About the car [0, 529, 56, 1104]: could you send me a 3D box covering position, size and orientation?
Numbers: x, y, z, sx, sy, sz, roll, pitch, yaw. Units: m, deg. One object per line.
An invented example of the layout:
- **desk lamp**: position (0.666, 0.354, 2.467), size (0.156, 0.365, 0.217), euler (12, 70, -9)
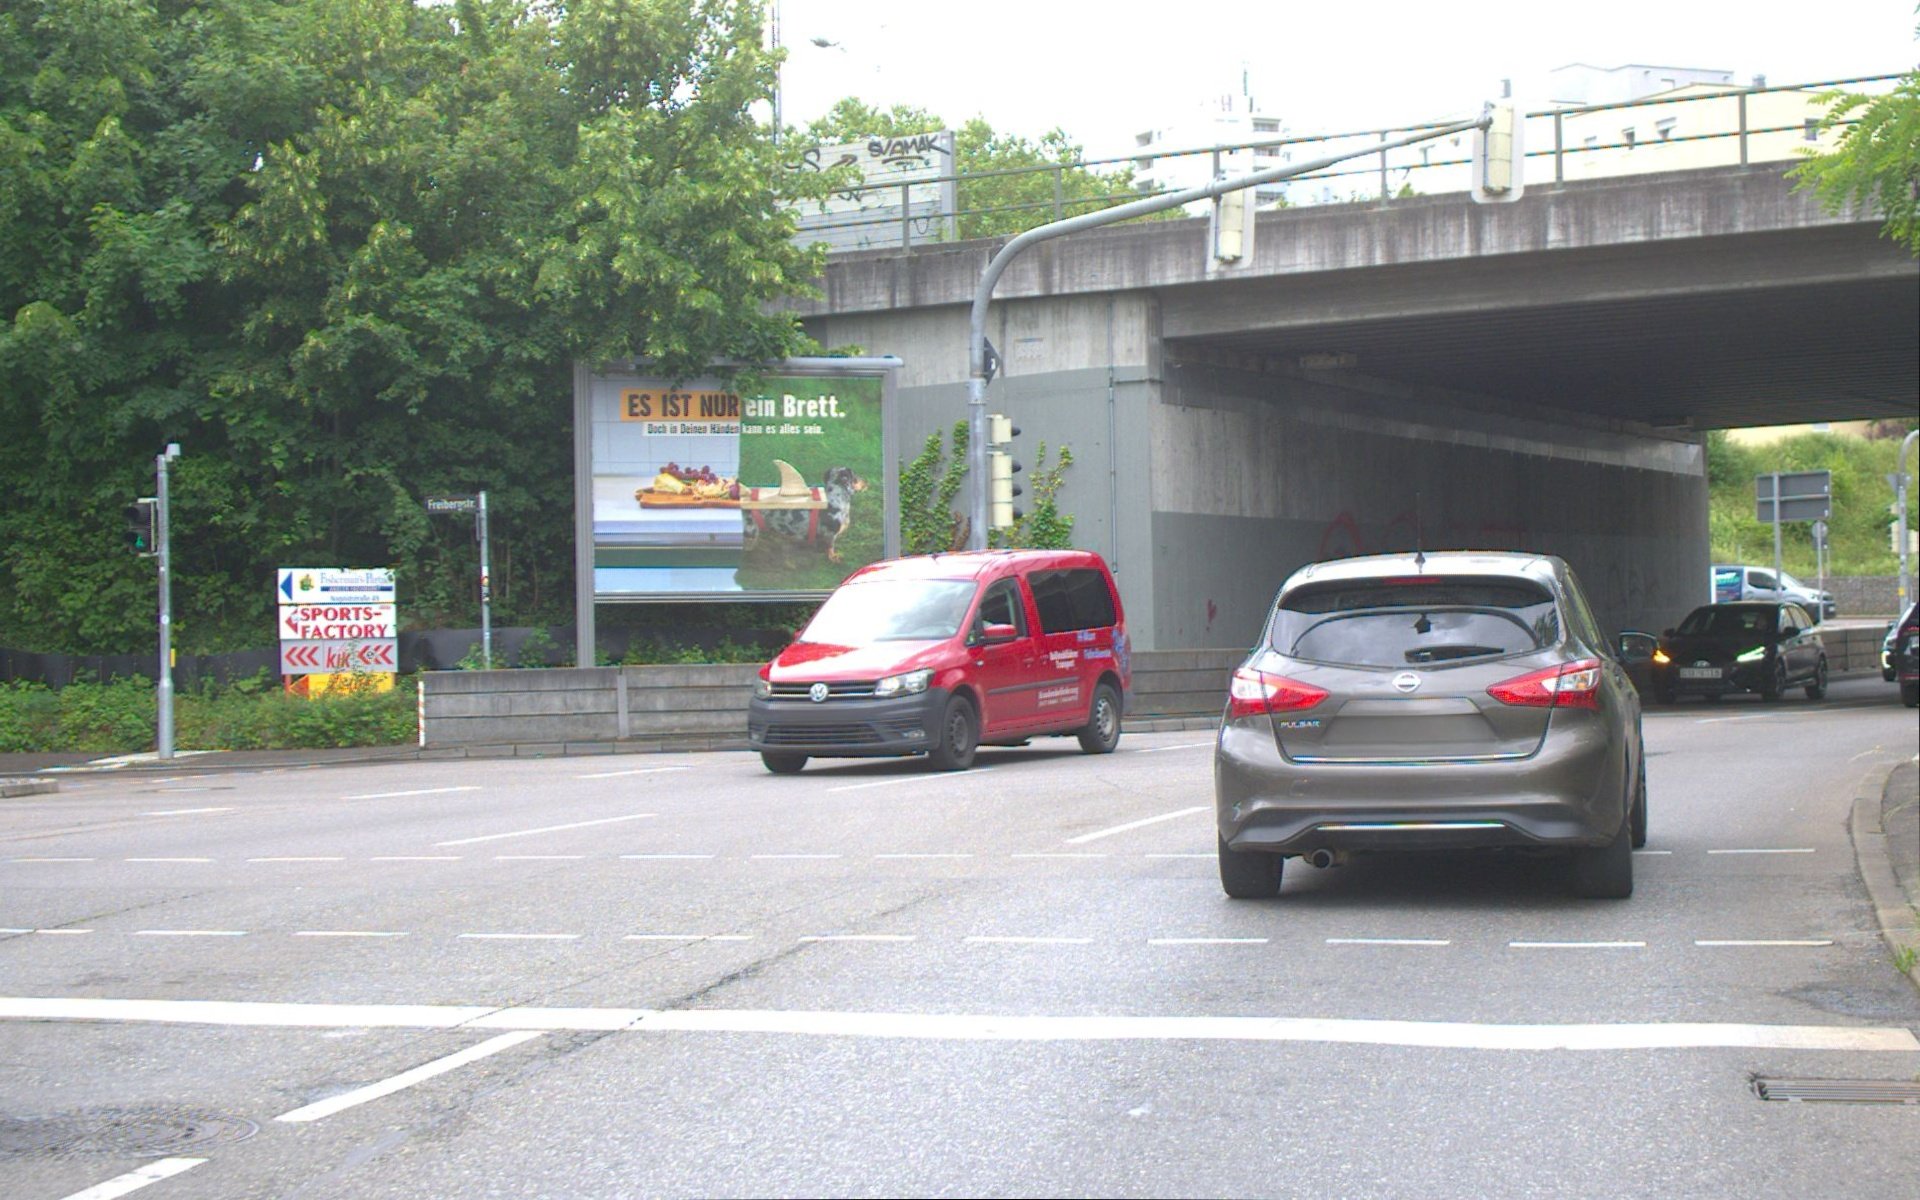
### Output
- **car**: position (-3.531, 0.576, 8.192), size (1.576, 1.552, 3.016), euler (1, 1, 8)

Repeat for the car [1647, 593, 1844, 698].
- **car**: position (11.545, 0.641, 50.337), size (1.819, 1.472, 4.130), euler (-1, 0, 28)

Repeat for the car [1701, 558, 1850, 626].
- **car**: position (24.723, -0.240, 104.178), size (3.993, 1.941, 1.997), euler (-1, -1, 28)

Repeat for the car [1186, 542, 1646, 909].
- **car**: position (2.254, 0.541, 16.105), size (1.845, 1.488, 3.998), euler (-1, -1, 11)

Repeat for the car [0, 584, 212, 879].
- **car**: position (-5.467, 0.640, 16.833), size (1.766, 1.415, 4.418), euler (0, 0, 14)

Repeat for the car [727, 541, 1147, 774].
- **car**: position (-0.087, 0.438, 29.346), size (1.690, 1.819, 4.720), euler (-1, 0, 25)

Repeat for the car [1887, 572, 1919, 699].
- **car**: position (12.556, 0.483, 41.521), size (1.902, 1.461, 3.994), euler (3, 0, 25)
